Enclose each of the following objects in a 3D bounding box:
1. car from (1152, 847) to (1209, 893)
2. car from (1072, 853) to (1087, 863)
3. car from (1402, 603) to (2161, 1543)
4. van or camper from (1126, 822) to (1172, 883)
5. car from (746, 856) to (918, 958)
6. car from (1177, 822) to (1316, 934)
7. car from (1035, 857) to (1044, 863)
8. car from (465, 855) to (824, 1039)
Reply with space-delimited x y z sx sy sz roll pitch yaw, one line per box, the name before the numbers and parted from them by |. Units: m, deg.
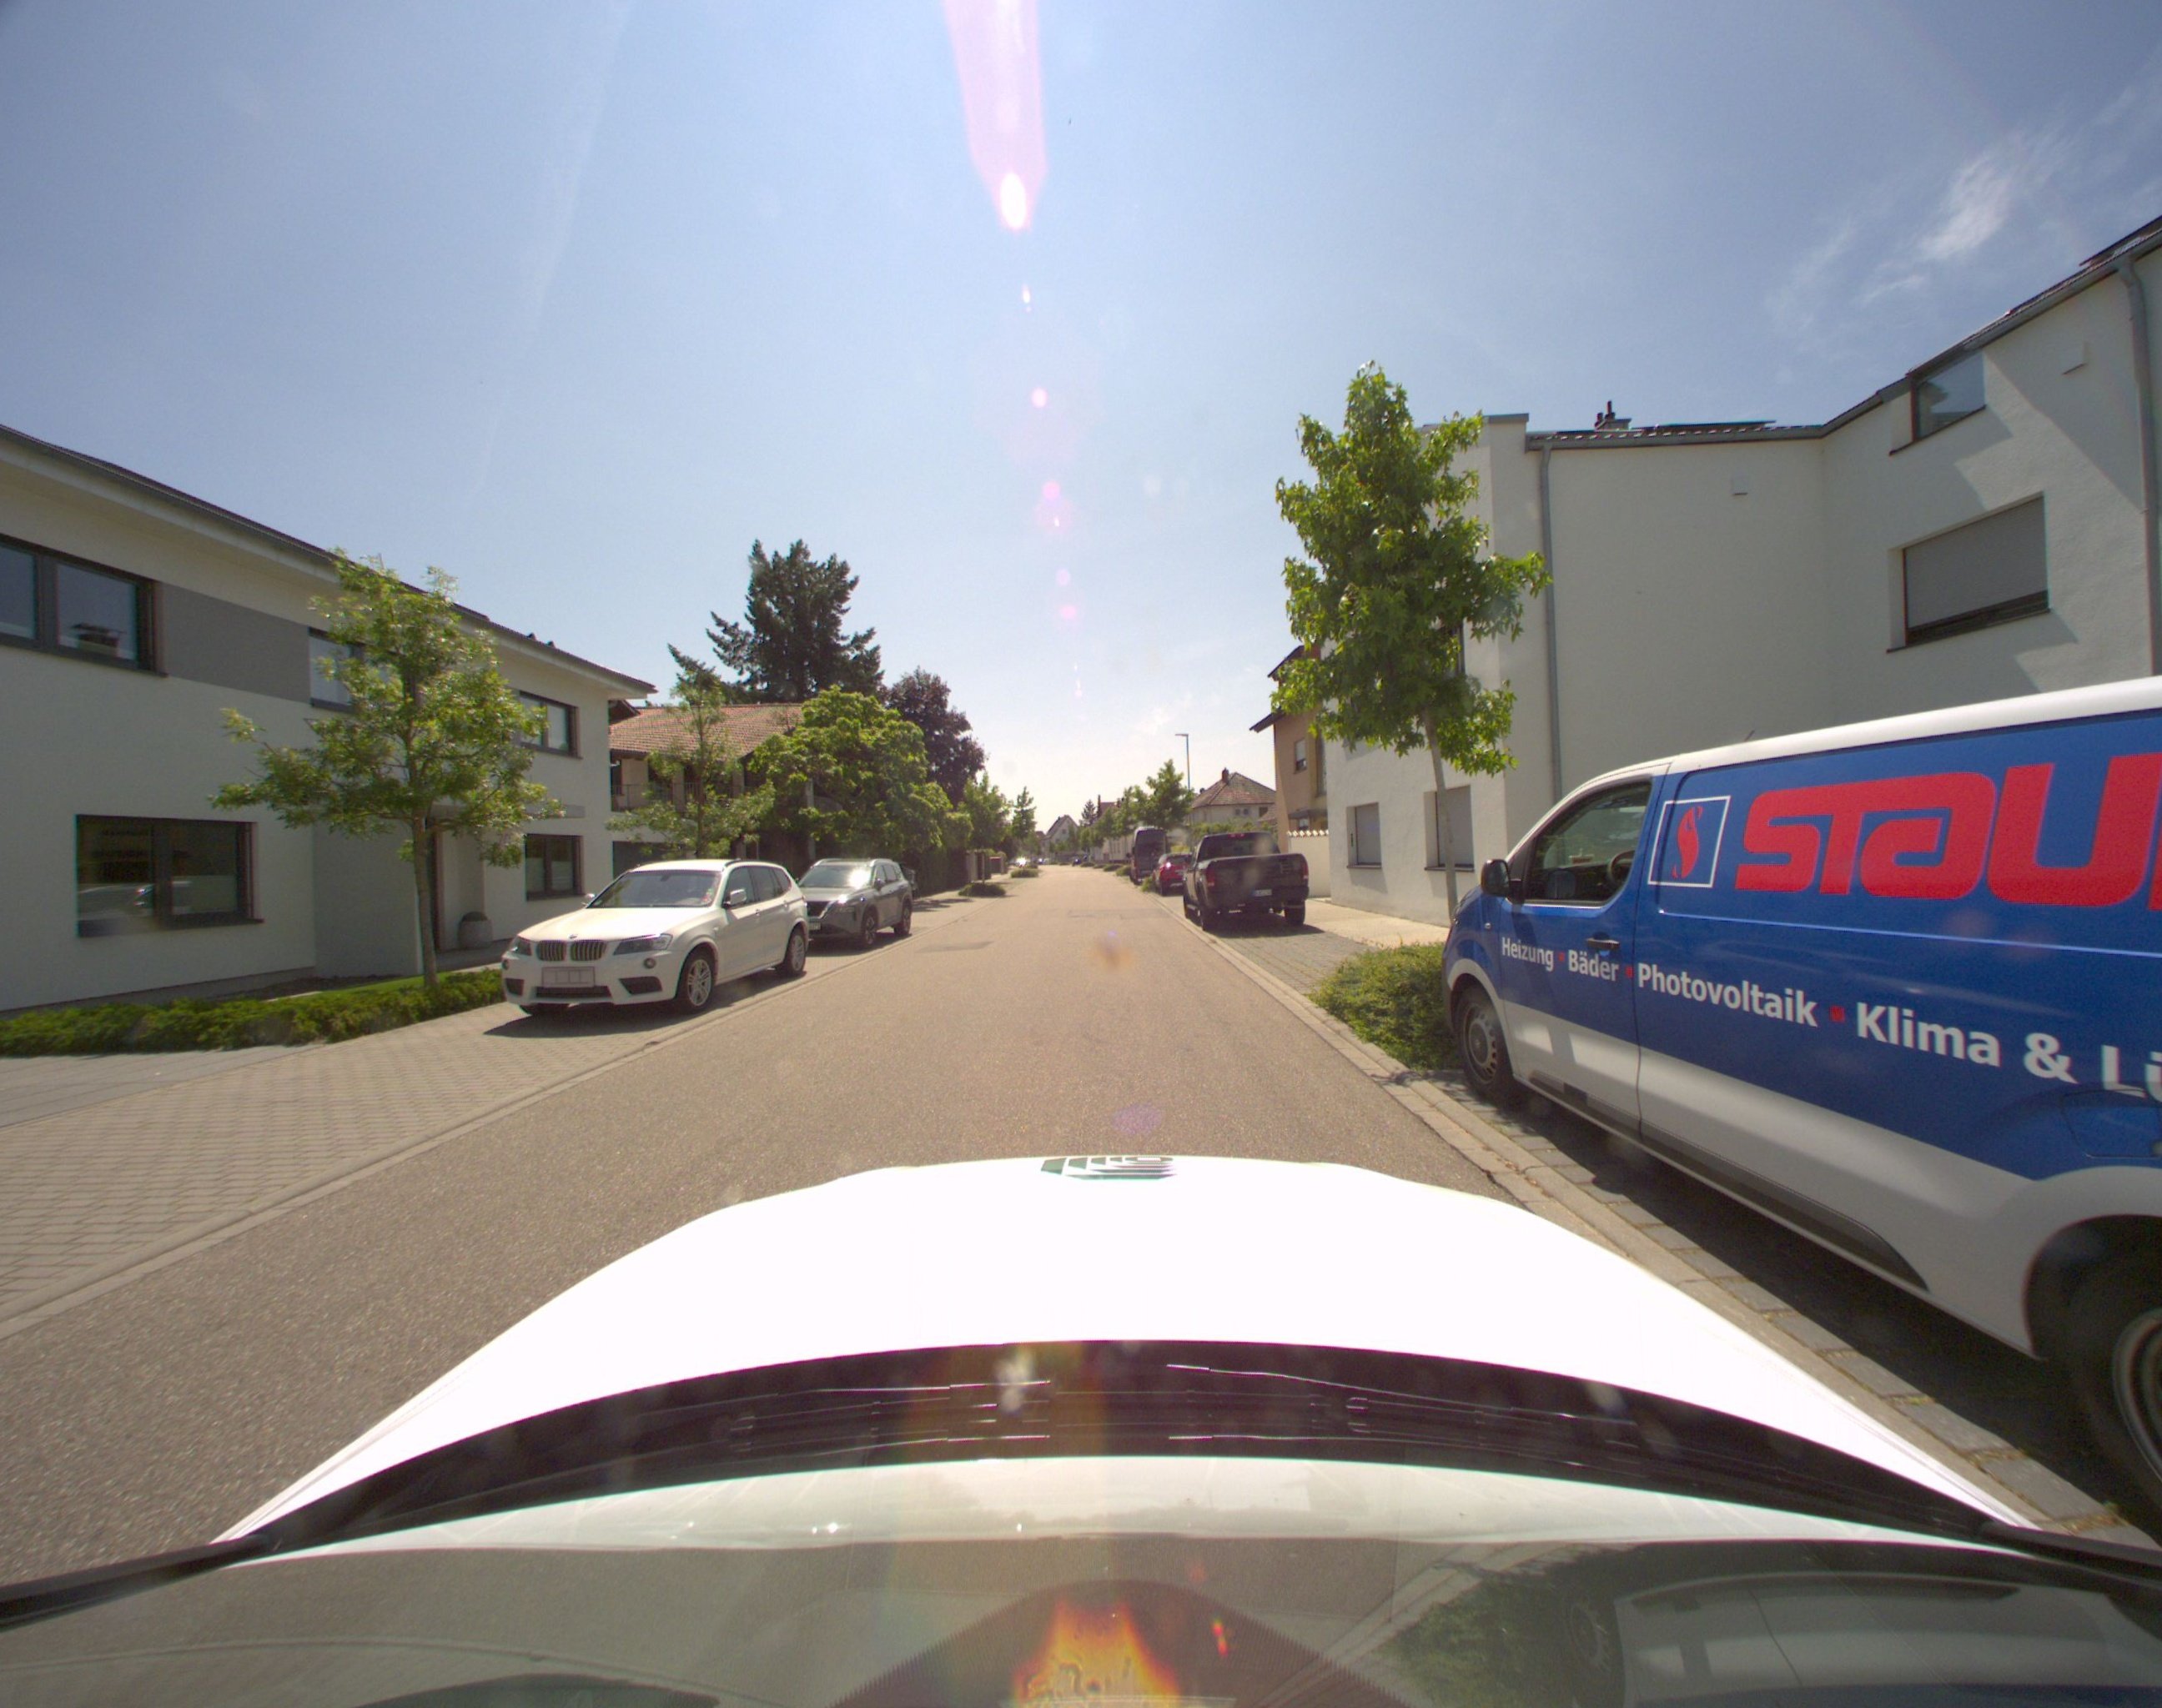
car | 3.809 0.590 31.667 1.665 1.595 3.554 -3 0 -1
car | -0.320 0.680 136.835 1.992 1.574 3.989 -3 0 -8
car | 3.251 0.392 3.286 2.091 1.882 4.845 -3 0 2
van or camper | 3.510 -0.103 42.601 1.986 2.941 4.001 -3 0 1
car | -4.820 0.941 16.473 1.986 1.680 4.216 -3 0 1
car | 3.374 0.438 17.733 1.986 1.947 5.216 -4 0 2
car | -10.052 1.457 197.377 1.663 1.250 3.919 -3 0 -9
car | -5.002 0.923 10.258 1.920 1.687 4.500 -3 0 2
